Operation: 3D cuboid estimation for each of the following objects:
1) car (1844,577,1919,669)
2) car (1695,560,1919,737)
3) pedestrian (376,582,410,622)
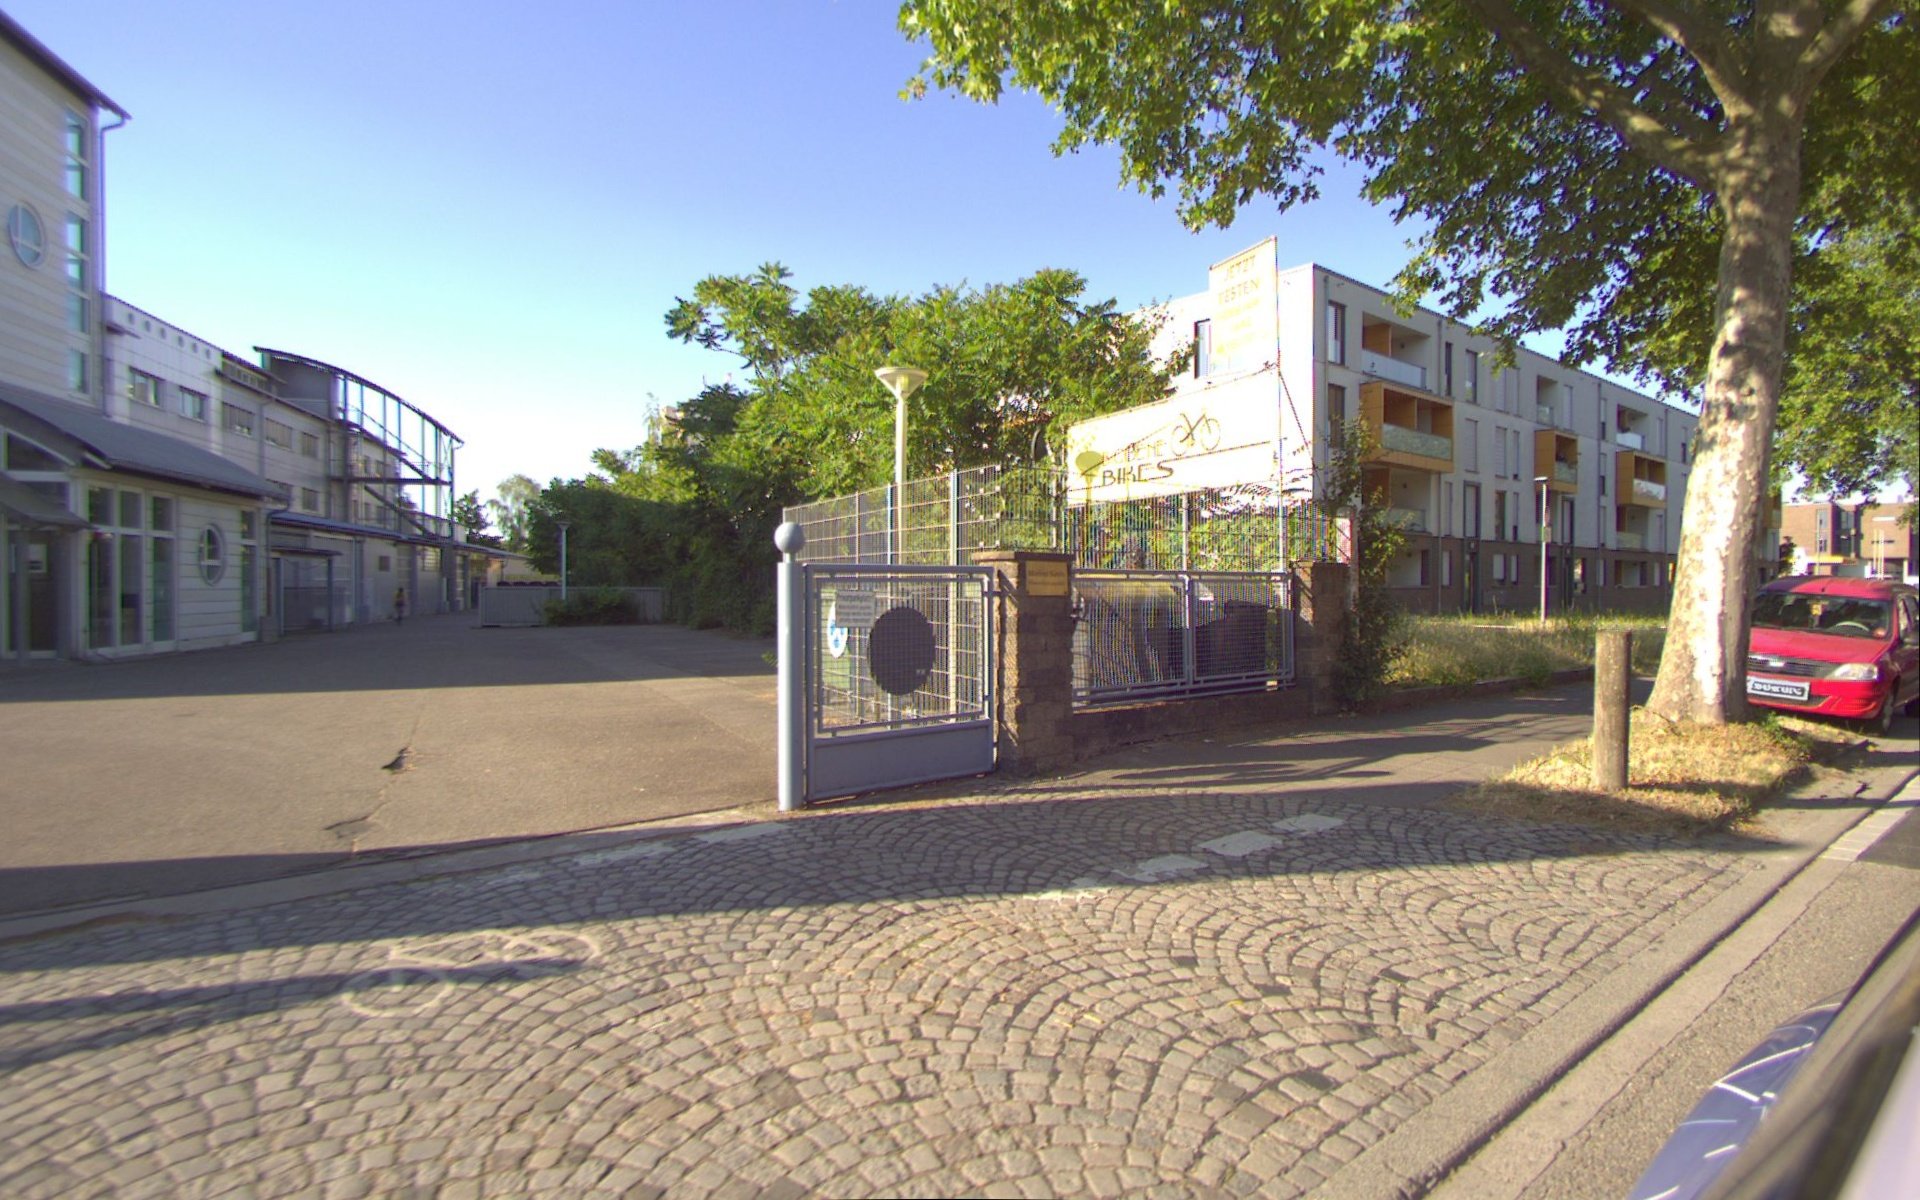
[{"bbox_3d":[17.834,0.373,18.430,4.611,1.499,1.705,-1,4,-38],"label":"car"},{"bbox_3d":[10.172,0.424,11.750,4.259,1.710,1.602,-1,2,-39],"label":"car"},{"bbox_3d":[-25.733,0.078,45.968,0.992,1.777,0.875,-1,0,10],"label":"pedestrian"}]
